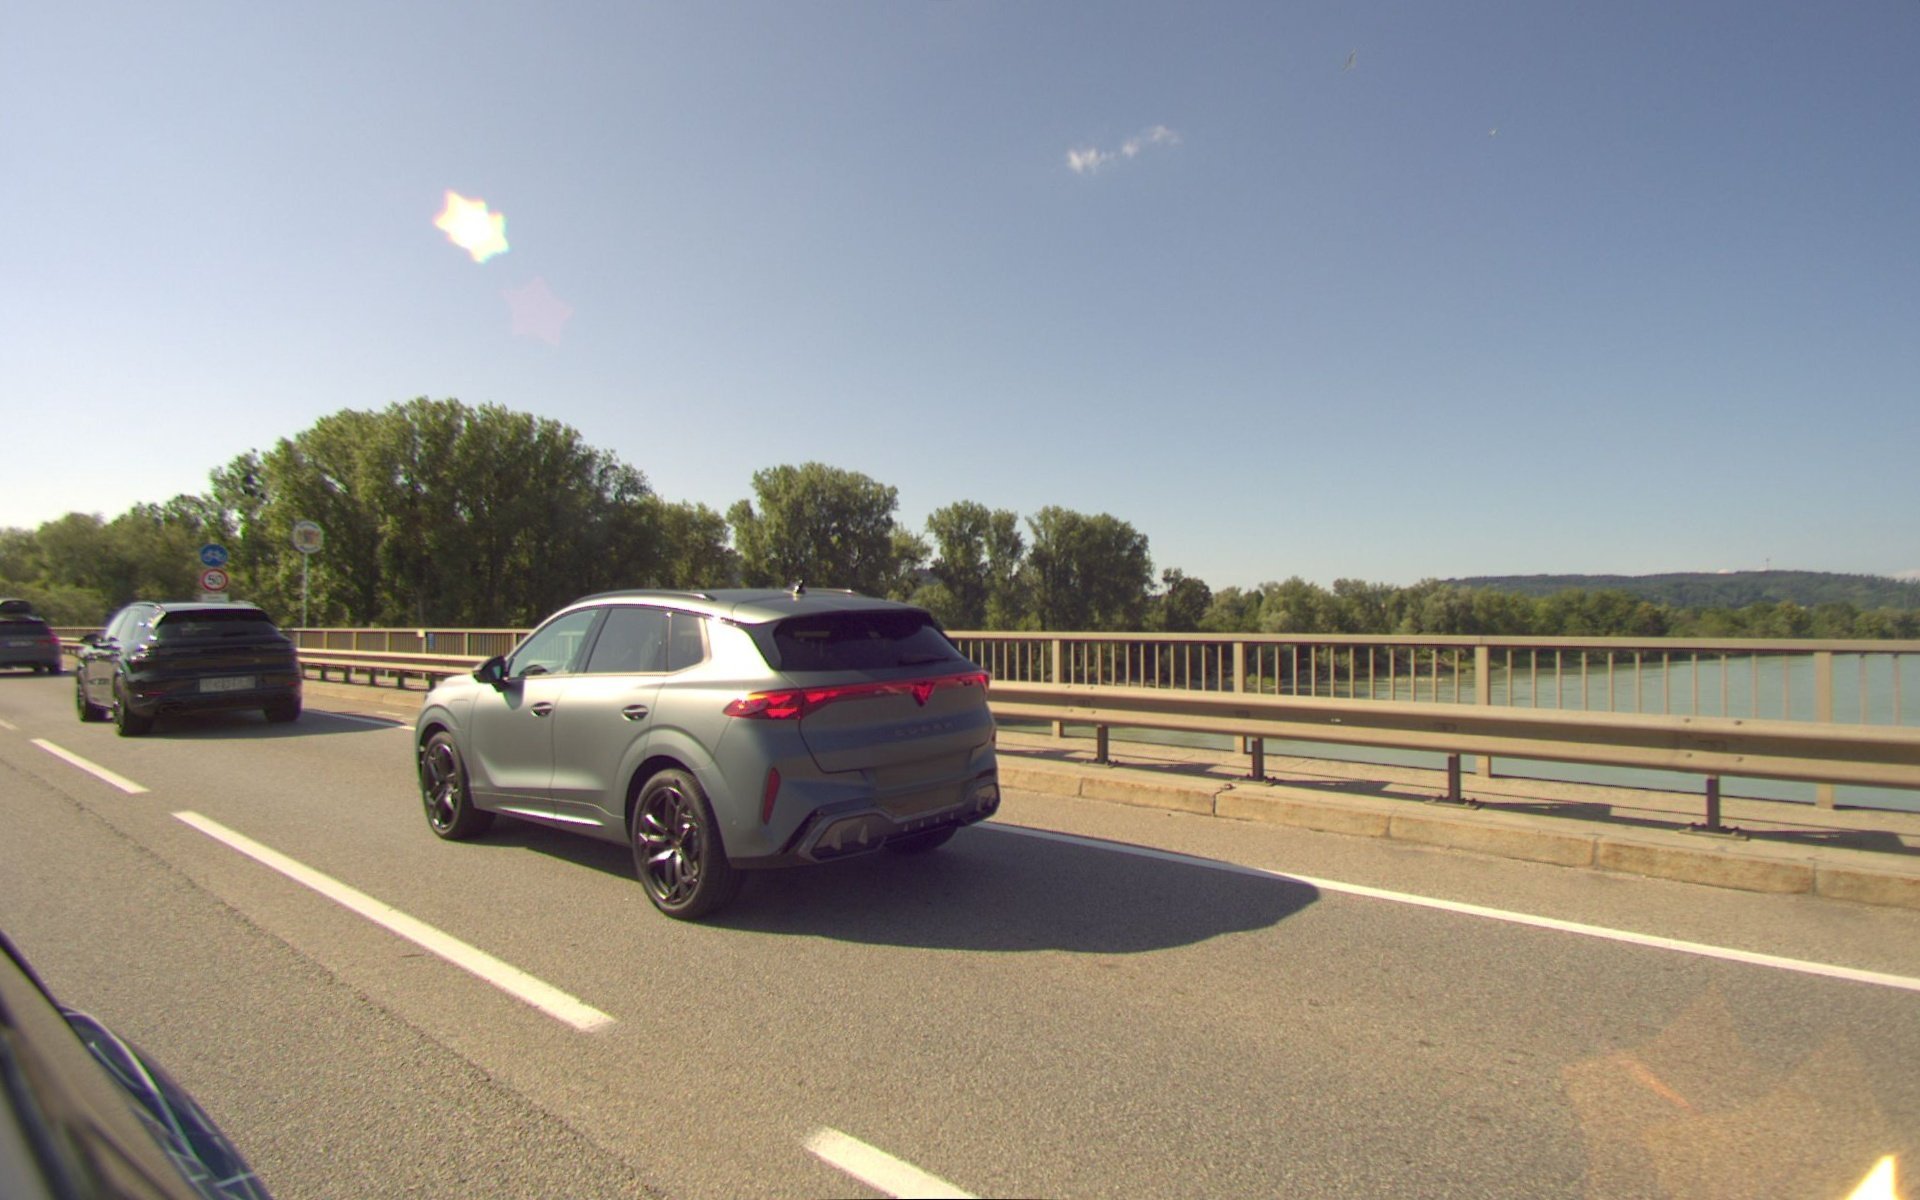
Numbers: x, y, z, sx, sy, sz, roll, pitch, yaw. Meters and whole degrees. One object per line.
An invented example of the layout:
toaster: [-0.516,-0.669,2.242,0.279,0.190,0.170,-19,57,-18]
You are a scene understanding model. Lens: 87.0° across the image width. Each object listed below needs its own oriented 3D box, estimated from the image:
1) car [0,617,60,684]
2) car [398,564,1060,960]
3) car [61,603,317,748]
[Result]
car: [-26.752,1.385,28.310,4.564,1.735,1.835,-2,-1,42]
car: [-1.632,0.688,6.135,4.199,1.589,1.787,-2,-1,41]
car: [-11.096,0.945,14.435,4.720,1.665,2.032,-1,1,42]
